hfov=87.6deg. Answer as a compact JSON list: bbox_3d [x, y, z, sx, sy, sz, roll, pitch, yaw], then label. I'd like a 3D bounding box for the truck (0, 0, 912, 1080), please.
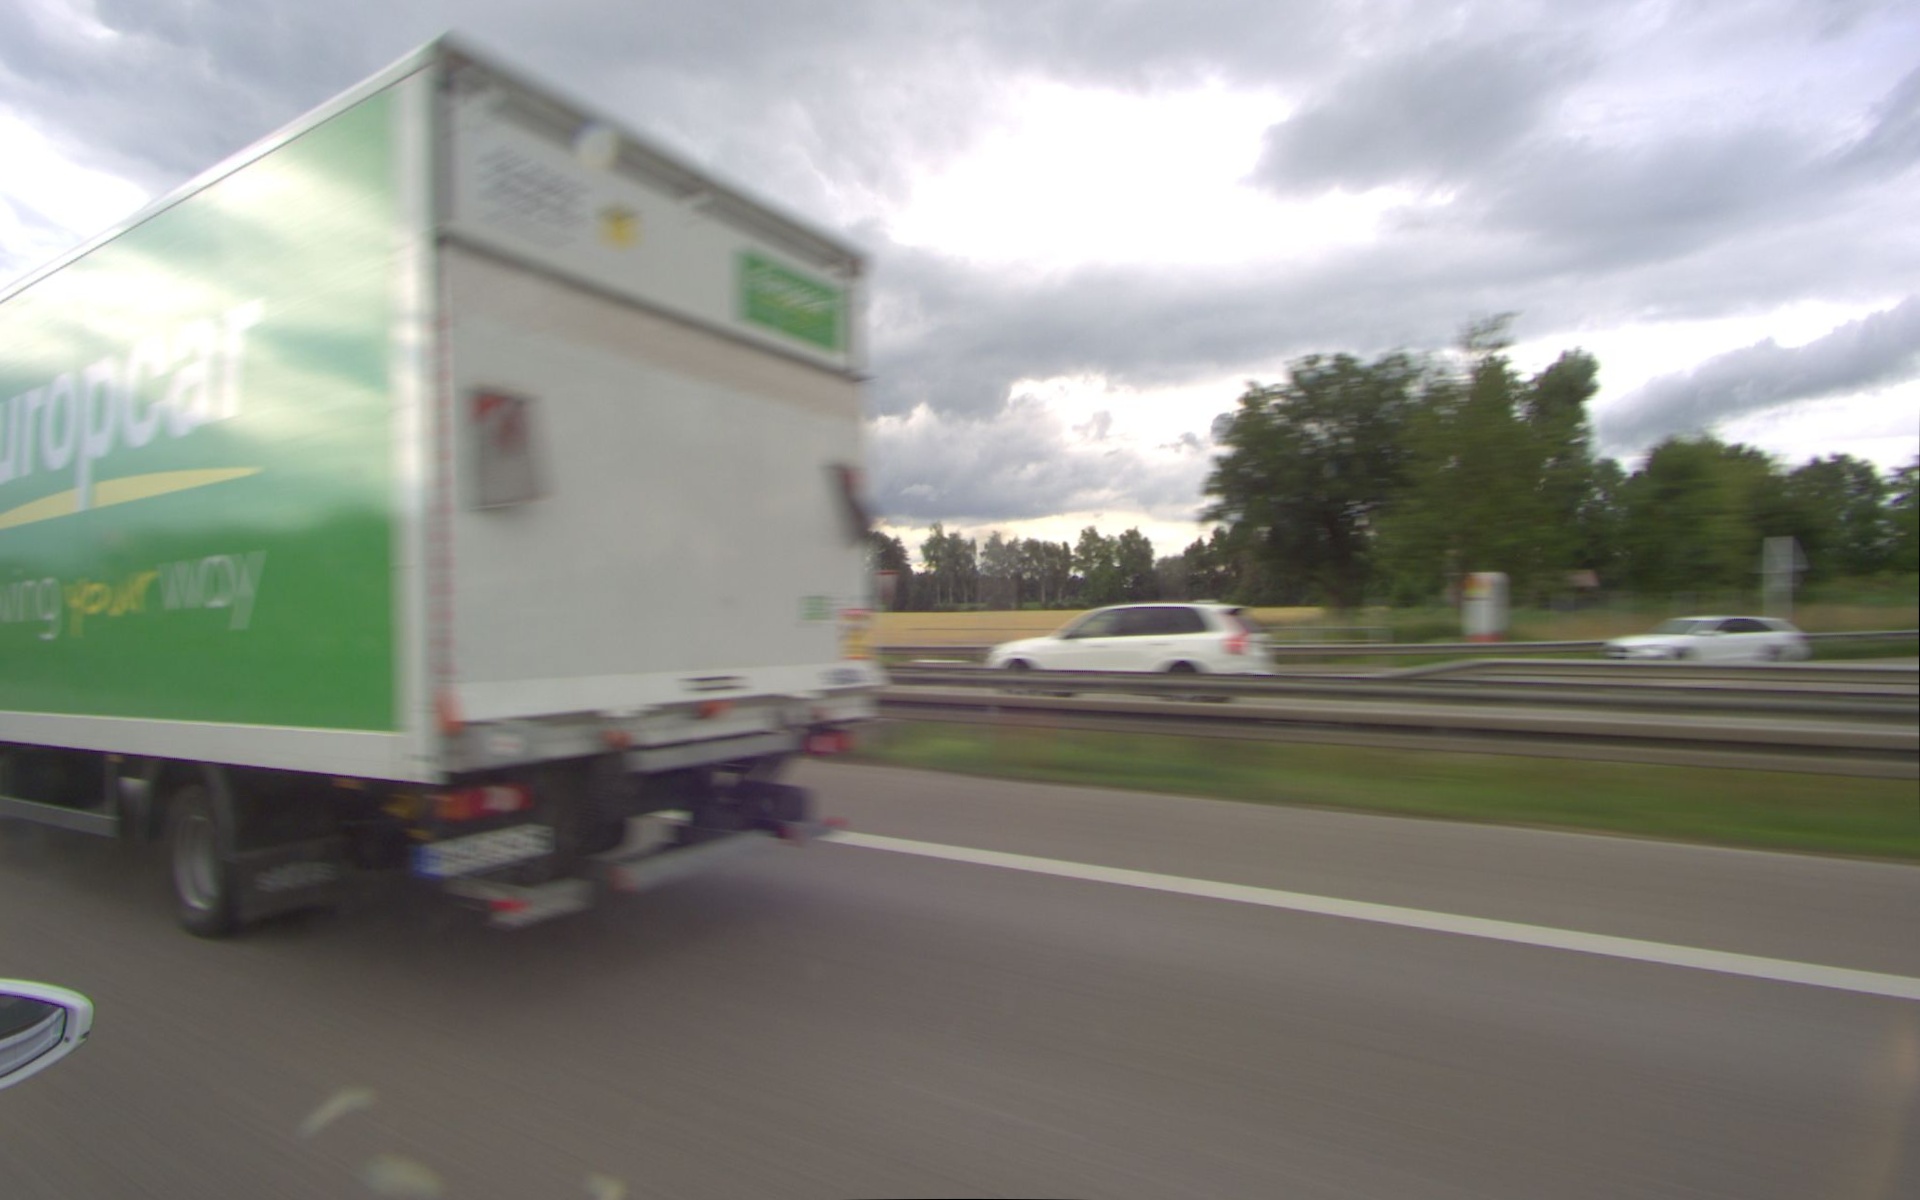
[{"bbox_3d":[-4.765,-0.145,6.807,8.932,3.549,2.765,-1,-1,32],"label":"truck"}]

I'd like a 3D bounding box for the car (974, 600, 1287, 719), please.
[{"bbox_3d":[2.827,0.929,17.135,4.993,1.780,1.824,-1,0,32],"label":"car"}]

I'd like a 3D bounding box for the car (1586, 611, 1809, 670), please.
[{"bbox_3d":[19.548,1.084,26.654,4.691,1.486,2.000,1,-2,-7],"label":"car"}]

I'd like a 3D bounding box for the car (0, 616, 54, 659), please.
[{"bbox_3d":[-48.603,1.885,51.117,4.884,2.089,2.141,-1,-1,30],"label":"car"}]
